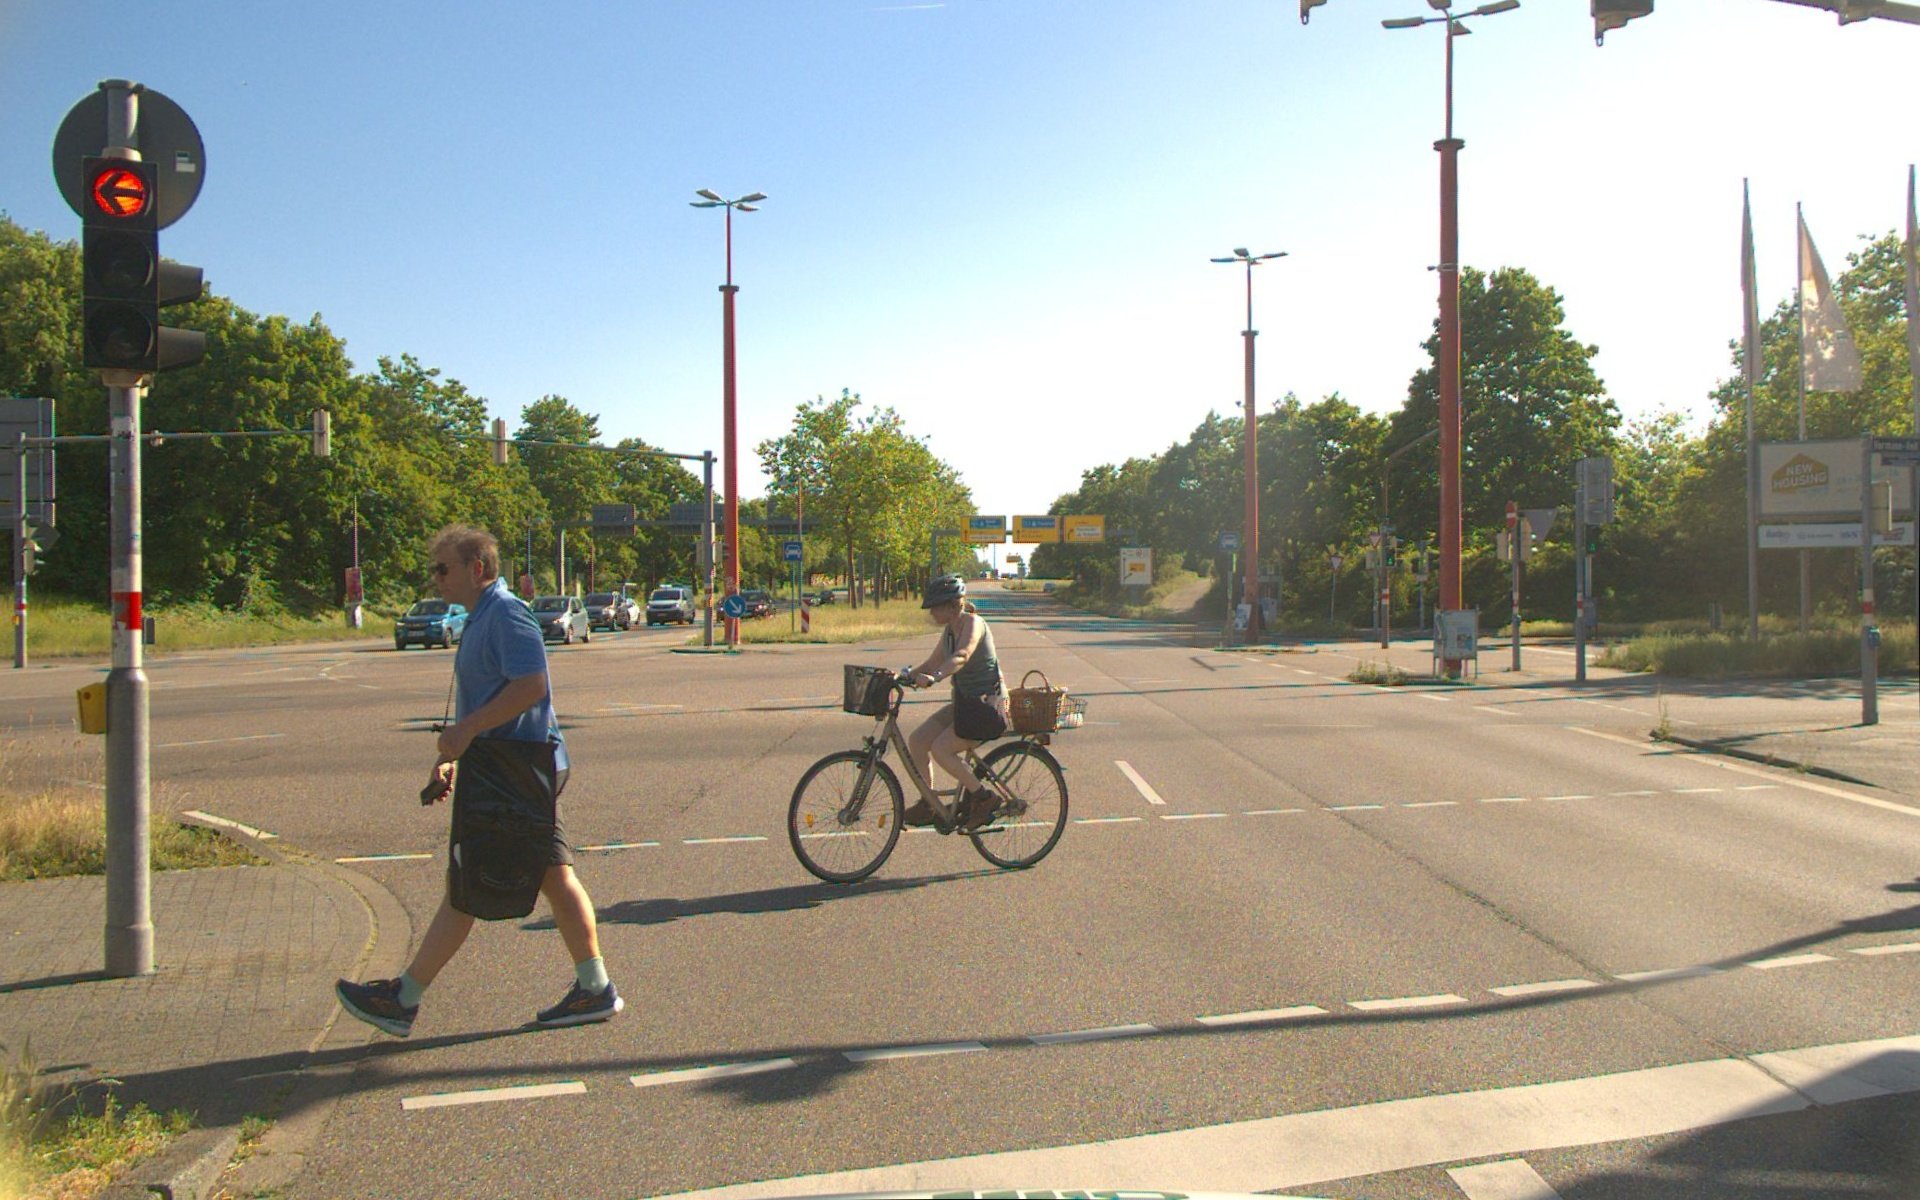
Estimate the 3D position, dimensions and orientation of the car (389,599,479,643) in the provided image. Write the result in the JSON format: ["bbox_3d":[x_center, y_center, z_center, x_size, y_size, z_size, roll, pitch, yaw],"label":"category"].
[{"bbox_3d":[-16.059,0.613,50.666,1.704,1.265,3.611,0,0,-2],"label":"car"}]

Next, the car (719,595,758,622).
[{"bbox_3d":[-11.810,0.456,88.301,1.704,1.386,3.611,0,0,-2],"label":"car"}]

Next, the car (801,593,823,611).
[{"bbox_3d":[-14.324,0.215,159.809,1.761,1.668,3.999,-1,0,-1],"label":"car"}]

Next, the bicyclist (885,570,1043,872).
[{"bbox_3d":[0.016,0.645,9.284,0.653,1.612,0.666,0,0,-28],"label":"bicyclist"}]

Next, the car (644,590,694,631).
[{"bbox_3d":[-15.361,0.534,87.494,1.855,2.061,5.221,0,0,-2],"label":"car"}]

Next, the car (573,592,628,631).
[{"bbox_3d":[-15.726,0.482,72.562,1.704,1.640,3.611,0,0,-2],"label":"car"}]

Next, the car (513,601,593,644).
[{"bbox_3d":[-12.677,0.671,51.688,1.704,1.265,3.611,0,0,-2],"label":"car"}]

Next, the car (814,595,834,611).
[{"bbox_3d":[-14.143,0.272,172.476,1.782,1.657,3.999,0,0,-1],"label":"car"}]

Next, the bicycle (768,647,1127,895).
[{"bbox_3d":[-0.053,0.898,9.246,1.920,1.216,0.686,0,0,-29],"label":"bicycle"}]

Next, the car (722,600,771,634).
[{"bbox_3d":[-9.855,0.769,76.448,1.782,1.534,3.999,0,0,-1],"label":"car"}]

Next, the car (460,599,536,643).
[{"bbox_3d":[-15.943,0.701,57.236,1.704,1.436,3.611,0,0,-2],"label":"car"}]

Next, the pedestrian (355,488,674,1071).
[{"bbox_3d":[-1.592,0.559,5.818,0.971,1.825,0.948,0,0,-23],"label":"pedestrian"}]
